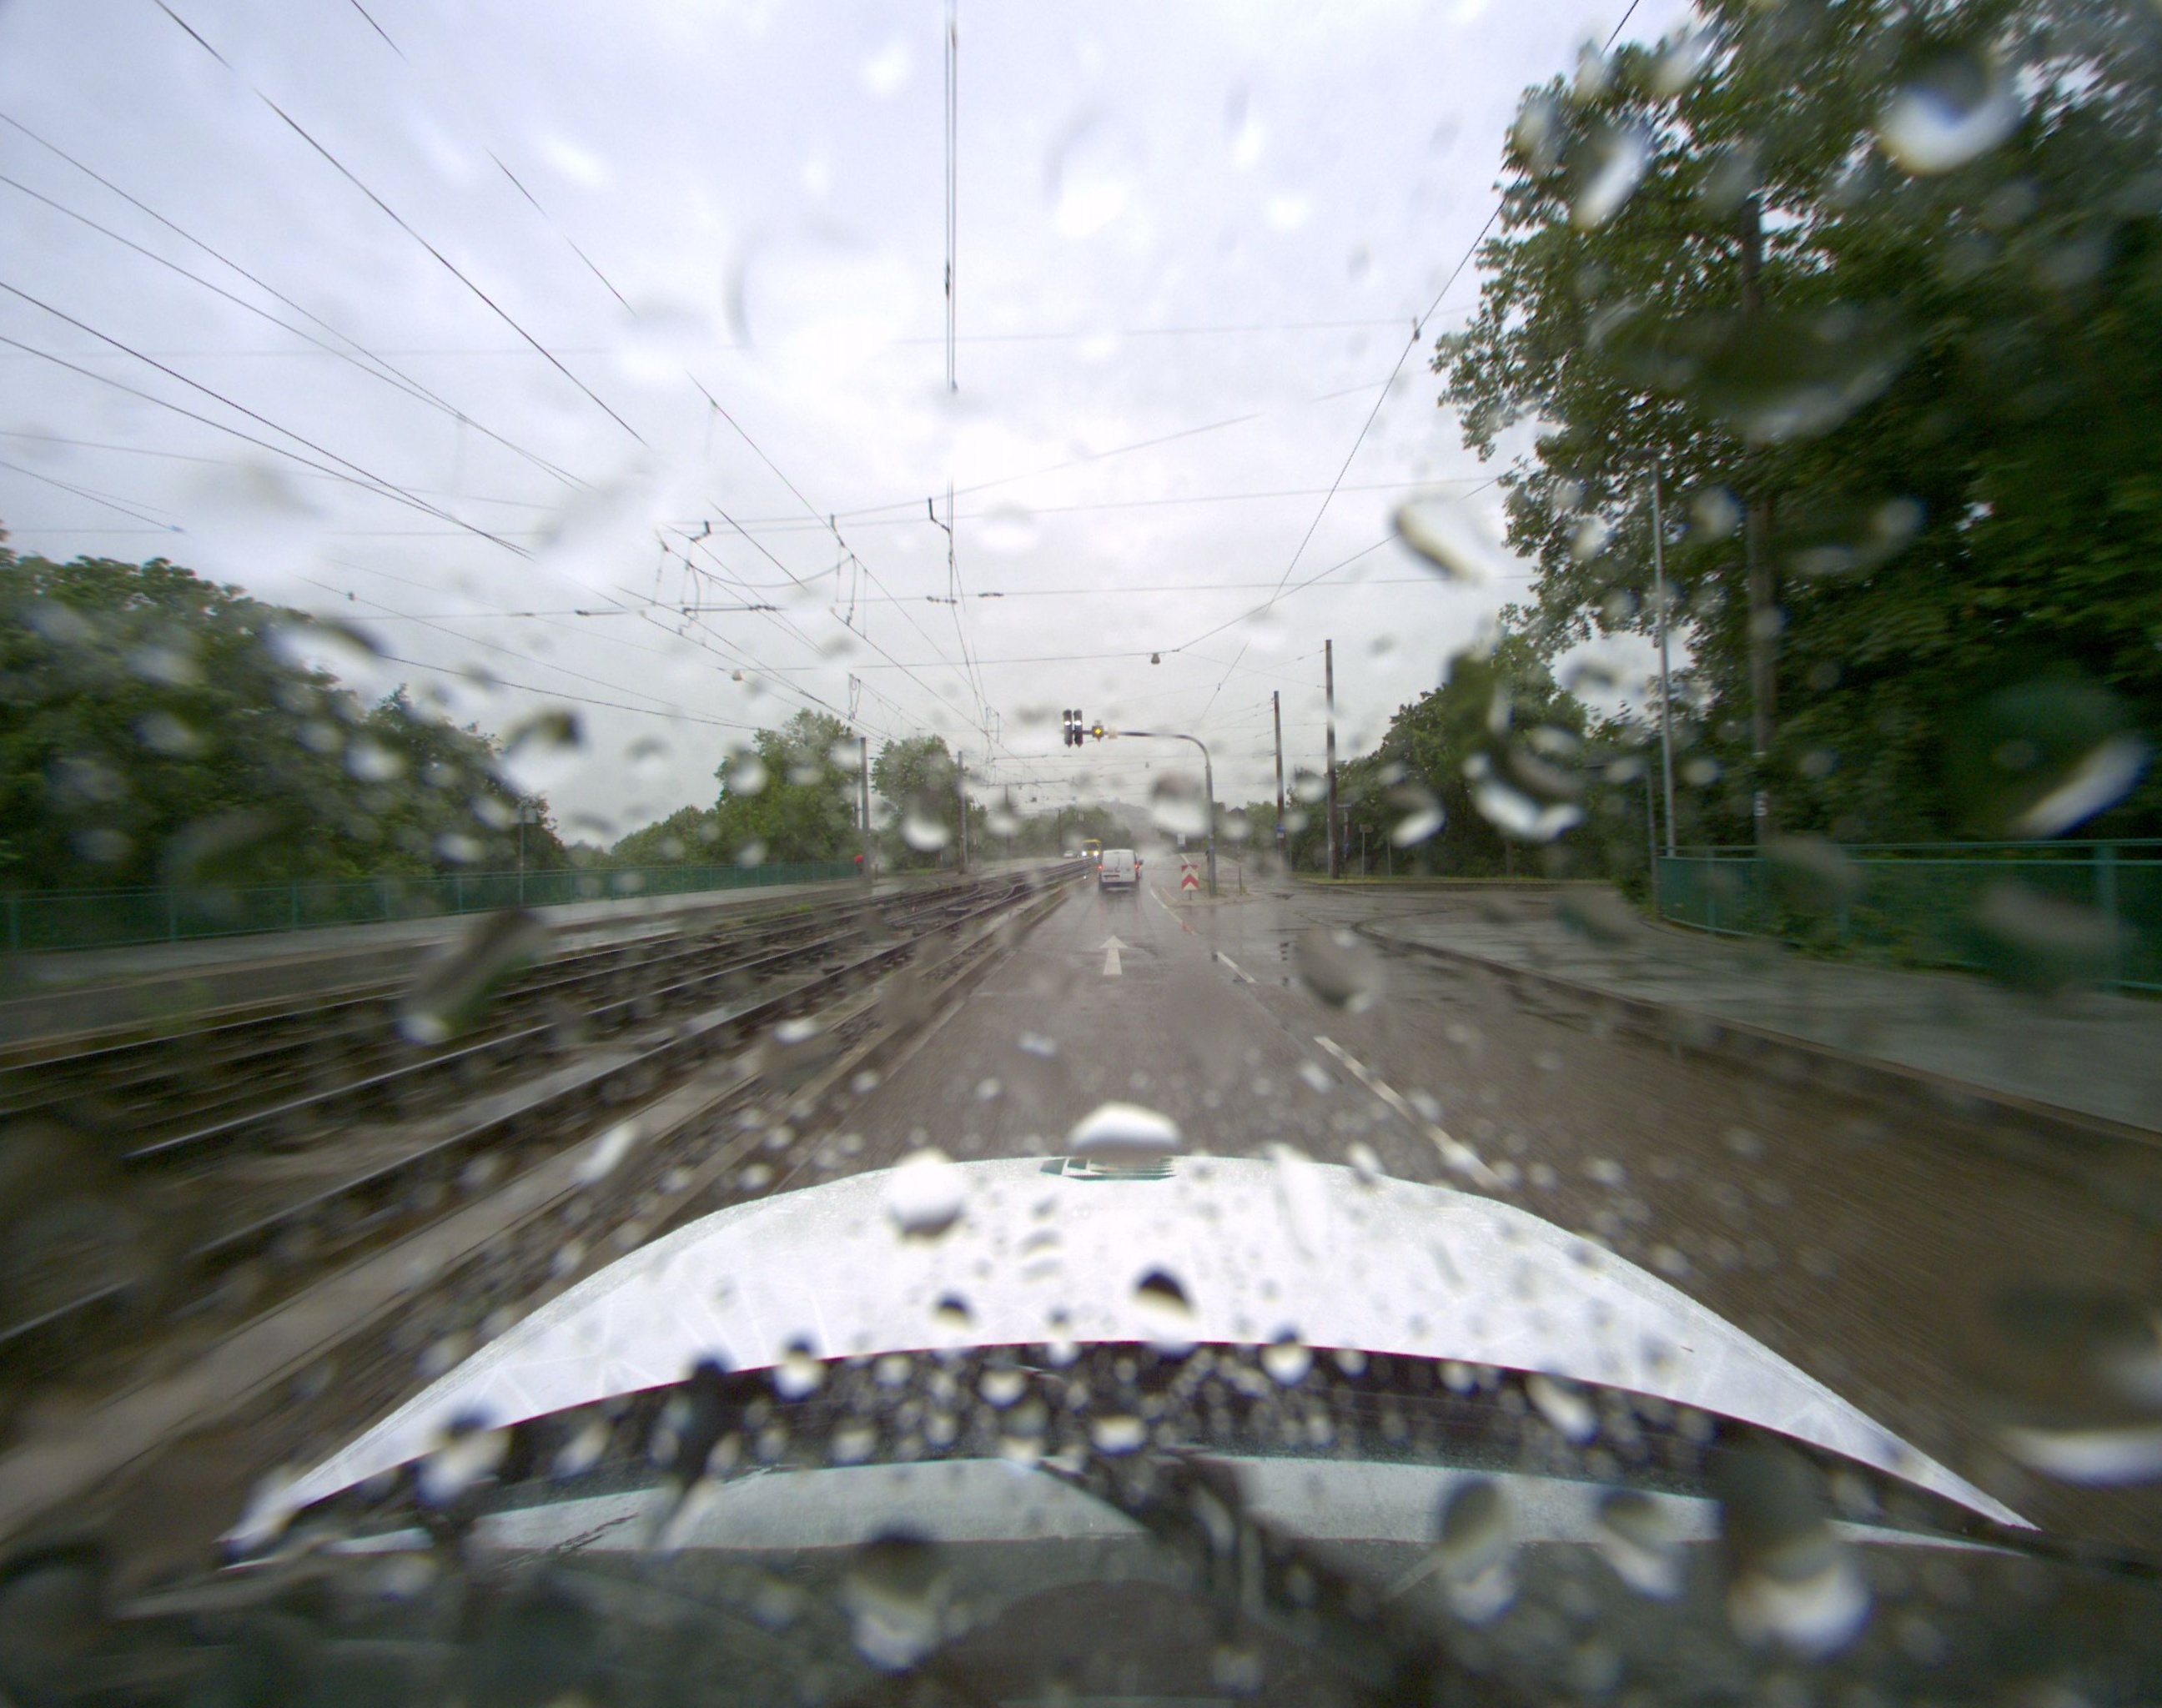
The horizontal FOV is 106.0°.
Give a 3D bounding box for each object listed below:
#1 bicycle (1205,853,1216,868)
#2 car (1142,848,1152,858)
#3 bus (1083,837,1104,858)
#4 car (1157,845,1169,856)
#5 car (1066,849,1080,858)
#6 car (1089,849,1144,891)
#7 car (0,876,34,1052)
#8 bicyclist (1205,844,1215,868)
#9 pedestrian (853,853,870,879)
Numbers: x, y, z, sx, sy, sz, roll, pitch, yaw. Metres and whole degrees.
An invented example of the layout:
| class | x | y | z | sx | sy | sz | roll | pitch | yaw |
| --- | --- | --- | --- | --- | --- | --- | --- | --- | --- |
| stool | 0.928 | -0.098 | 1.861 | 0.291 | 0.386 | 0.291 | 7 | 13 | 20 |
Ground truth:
| class | x | y | z | sx | sy | sz | roll | pitch | yaw |
| --- | --- | --- | --- | --- | --- | --- | --- | --- | --- |
| bicycle | 9.680 | 0.485 | 61.013 | 0.719 | 1.129 | 2.171 | 0 | 0 | 6 |
| car | 10.361 | -0.151 | 127.994 | 1.445 | 1.499 | 2.983 | 0 | -1 | 2 |
| bus | 2.405 | -1.296 | 150.588 | 2.695 | 3.340 | 11.012 | -3 | 1 | 6 |
| car | 11.747 | -0.544 | 116.966 | 1.445 | 1.499 | 2.983 | 0 | -1 | 2 |
| car | -1.447 | -0.081 | 145.434 | 1.925 | 1.231 | 4.107 | -3 | 1 | 6 |
| car | 1.597 | 0.671 | 35.366 | 1.982 | 1.726 | 4.009 | 0 | -1 | 8 |
| car | -11.215 | 1.038 | 5.217 | 1.986 | 1.649 | 5.373 | 0 | 0 | 1 |
| bicyclist | 9.671 | 0.176 | 60.988 | 0.722 | 1.764 | 0.951 | 0 | -1 | 6 |
| pedestrian | -15.616 | 0.868 | 58.026 | 0.860 | 1.819 | 1.044 | 0 | -1 | 4 |
